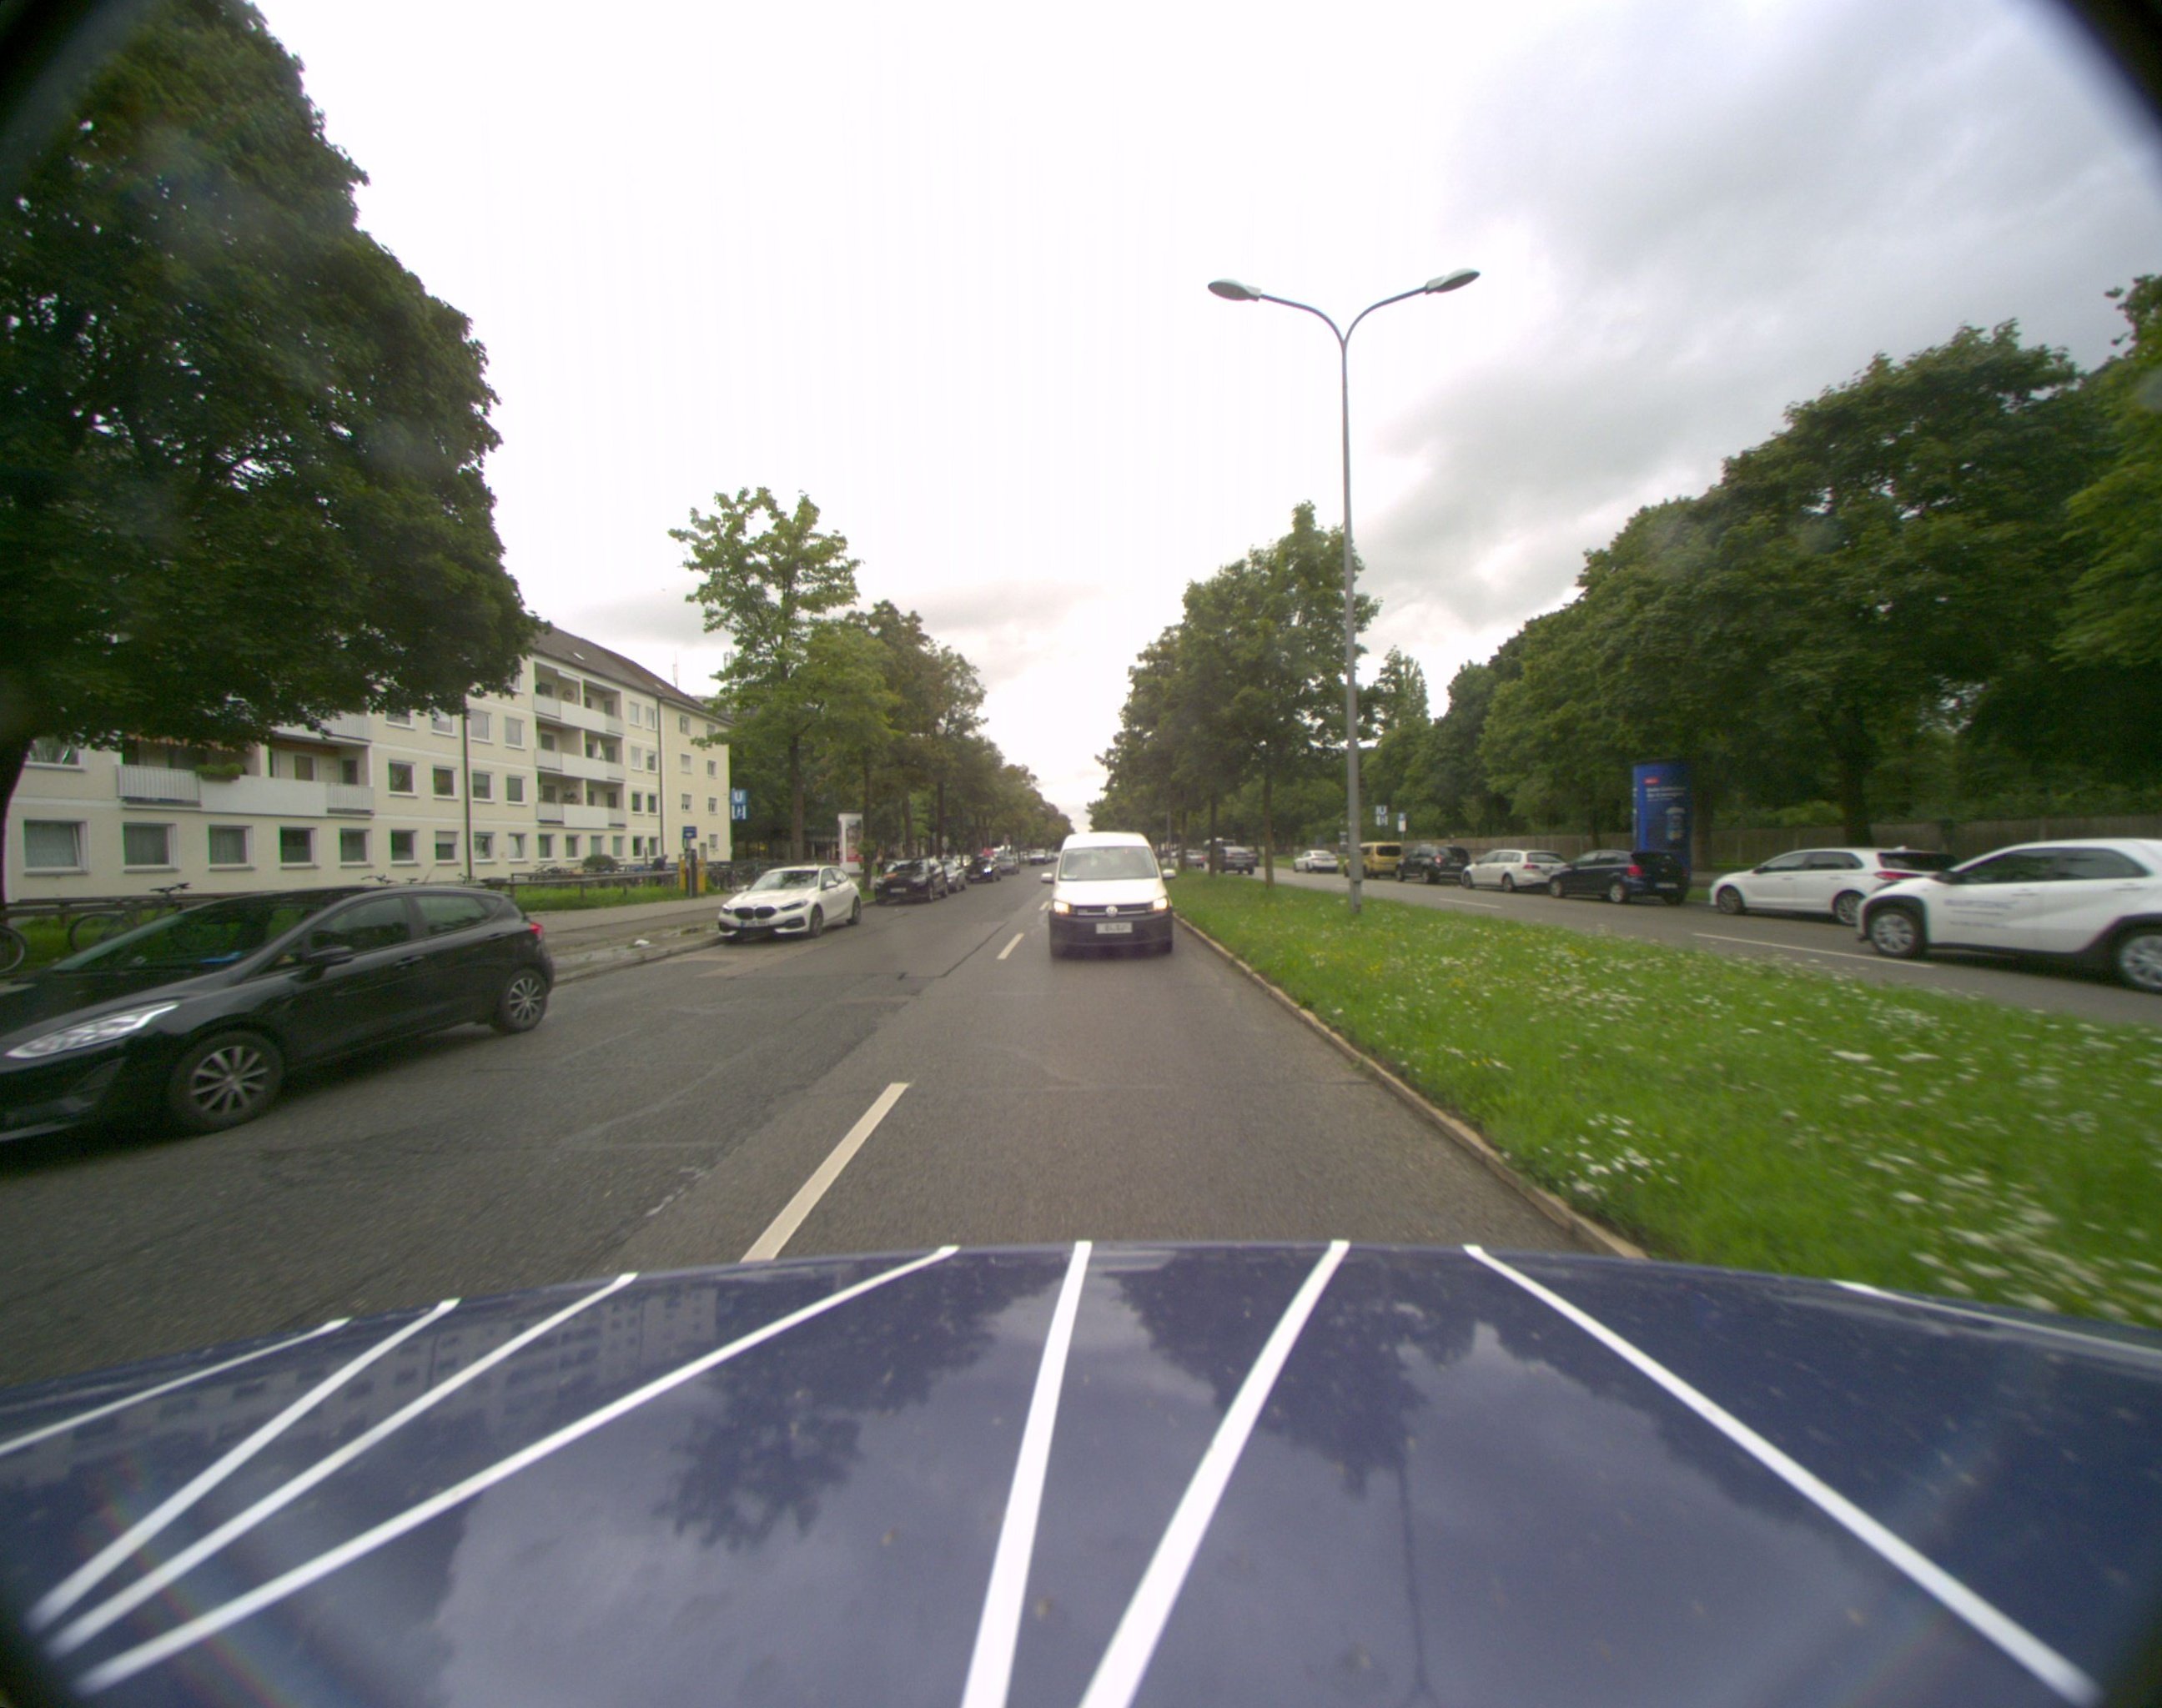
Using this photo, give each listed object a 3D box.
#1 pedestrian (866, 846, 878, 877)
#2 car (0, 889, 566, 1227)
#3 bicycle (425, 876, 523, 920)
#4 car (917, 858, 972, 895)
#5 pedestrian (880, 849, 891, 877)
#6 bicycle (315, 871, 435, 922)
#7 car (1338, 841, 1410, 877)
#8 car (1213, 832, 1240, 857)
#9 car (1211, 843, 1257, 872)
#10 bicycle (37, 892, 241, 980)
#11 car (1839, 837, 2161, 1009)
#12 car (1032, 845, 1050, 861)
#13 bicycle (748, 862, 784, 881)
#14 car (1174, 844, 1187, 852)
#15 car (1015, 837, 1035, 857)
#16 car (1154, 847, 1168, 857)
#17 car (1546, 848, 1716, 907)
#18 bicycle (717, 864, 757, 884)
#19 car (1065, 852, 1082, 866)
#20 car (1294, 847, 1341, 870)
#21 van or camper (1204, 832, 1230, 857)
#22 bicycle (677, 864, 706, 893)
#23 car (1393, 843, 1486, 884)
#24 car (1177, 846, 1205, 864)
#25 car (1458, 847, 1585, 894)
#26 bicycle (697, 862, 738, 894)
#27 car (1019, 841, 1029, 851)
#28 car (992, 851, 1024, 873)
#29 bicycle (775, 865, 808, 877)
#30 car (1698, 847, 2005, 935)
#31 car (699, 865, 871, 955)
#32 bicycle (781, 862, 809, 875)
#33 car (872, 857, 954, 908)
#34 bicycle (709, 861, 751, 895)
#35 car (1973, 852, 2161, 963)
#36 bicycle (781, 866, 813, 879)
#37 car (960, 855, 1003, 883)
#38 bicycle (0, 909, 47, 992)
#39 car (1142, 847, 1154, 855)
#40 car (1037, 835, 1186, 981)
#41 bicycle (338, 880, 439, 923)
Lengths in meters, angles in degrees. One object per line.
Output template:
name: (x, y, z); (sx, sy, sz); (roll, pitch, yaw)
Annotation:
pedestrian: (-12.153, 0.427, 44.163); (0.560, 1.745, 0.656); (-2, 1, -19)
car: (-6.049, 1.122, 5.694); (1.648, 1.468, 3.955); (-2, 0, -1)
bicycle: (-16.444, 1.183, 20.616); (2.032, 1.061, 0.663); (-2, 1, -4)
car: (-5.731, 0.907, 32.394); (1.617, 1.372, 3.926); (-2, 1, -1)
pedestrian: (-11.424, 0.541, 44.347); (0.560, 1.595, 0.519); (-2, 1, -19)
bicycle: (-16.303, 0.972, 17.576); (2.032, 1.061, 0.663); (-2, 1, -4)
car: (14.869, 0.218, 38.821); (1.862, 1.761, 4.533); (0, 1, -1)
car: (15.822, -1.019, 82.657); (1.999, 2.576, 4.499); (0, 1, -1)
car: (9.025, 0.212, 45.099); (1.826, 1.580, 4.501); (-2, 0, 1)
bicycle: (-13.711, 1.151, 11.136); (0.469, 1.049, 1.771); (-2, 2, 30)
car: (10.902, 0.616, 8.200); (1.826, 1.544, 3.721); (-2, 1, 3)
car: (-4.947, -0.116, 94.410); (1.827, 1.939, 4.300); (-2, 1, 1)
bicycle: (-16.011, 0.887, 38.605); (1.599, 0.910, 0.498); (0, 1, -4)
car: (18.071, -1.031, 137.932); (1.717, 1.401, 4.040); (0, 1, -1)
car: (-7.267, -0.920, 98.484); (1.998, 2.441, 4.999); (-2, 1, 1)
car: (13.385, -0.357, 127.213); (1.866, 1.660, 4.500); (1, 1, 0)
car: (14.847, 0.566, 20.804); (1.826, 1.438, 3.787); (1, 1, -2)
bicycle: (-16.298, 0.954, 36.002); (1.599, 0.910, 0.498); (-2, 1, -4)
car: (-0.881, 0.533, 91.142); (1.984, 1.591, 4.402); (1, 1, 1)
car: (15.263, 0.261, 49.255); (1.717, 1.434, 4.040); (0, 1, -1)
van or camper: (15.628, -1.052, 87.592); (1.999, 2.791, 4.930); (0, 1, -1)
bicycle: (-15.459, 0.955, 30.178); (0.466, 1.110, 1.253); (-2, 1, 1)
car: (15.199, 0.357, 32.465); (2.007, 1.607, 4.040); (0, 1, -2)
car: (8.728, 0.076, 60.612); (1.722, 1.374, 3.767); (1, 1, 1)
car: (15.005, 0.496, 26.194); (1.826, 1.461, 4.300); (0, 1, -1)
bicycle: (-14.242, 0.917, 29.819); (0.545, 1.182, 2.076); (-2, 1, 1)
car: (-14.427, -1.950, 192.964); (1.999, 2.440, 4.999); (-2, 1, -1)
car: (-5.404, 0.590, 56.602); (1.827, 1.460, 4.300); (-2, 1, 1)
bicycle: (-16.067, 0.952, 42.216); (1.599, 0.634, 0.498); (1, 1, -4)
car: (14.938, 0.611, 15.155); (1.826, 1.468, 4.259); (1, 1, 1)
car: (-6.051, 1.071, 16.166); (1.826, 1.428, 4.287); (-3, 1, 1)
bicycle: (-16.325, 0.826, 43.430); (1.392, 0.709, 0.498); (1, 1, -4)
car: (-5.683, 0.910, 26.247); (1.826, 1.502, 4.157); (-2, 1, 0)
bicycle: (-13.346, 0.897, 28.949); (0.545, 1.182, 2.076); (-2, 1, 1)
car: (14.682, 0.703, 9.963); (1.654, 1.414, 3.687); (1, 1, 1)
bicycle: (-16.035, 1.050, 42.916); (1.599, 0.691, 0.498); (-1, 1, -4)
car: (-5.485, 0.809, 42.380); (1.827, 1.372, 4.299); (-2, 1, -1)
bicycle: (-13.835, 1.237, 9.046); (0.448, 1.009, 1.853); (-2, 1, 1)
car: (13.488, -0.570, 153.096); (1.866, 1.448, 4.500); (1, 1, 0)
car: (0.398, 0.653, 11.813); (1.772, 1.742, 4.545); (-3, 1, 0)
bicycle: (-18.779, 1.279, 20.638); (2.032, 1.061, 0.663); (-2, 1, -4)
